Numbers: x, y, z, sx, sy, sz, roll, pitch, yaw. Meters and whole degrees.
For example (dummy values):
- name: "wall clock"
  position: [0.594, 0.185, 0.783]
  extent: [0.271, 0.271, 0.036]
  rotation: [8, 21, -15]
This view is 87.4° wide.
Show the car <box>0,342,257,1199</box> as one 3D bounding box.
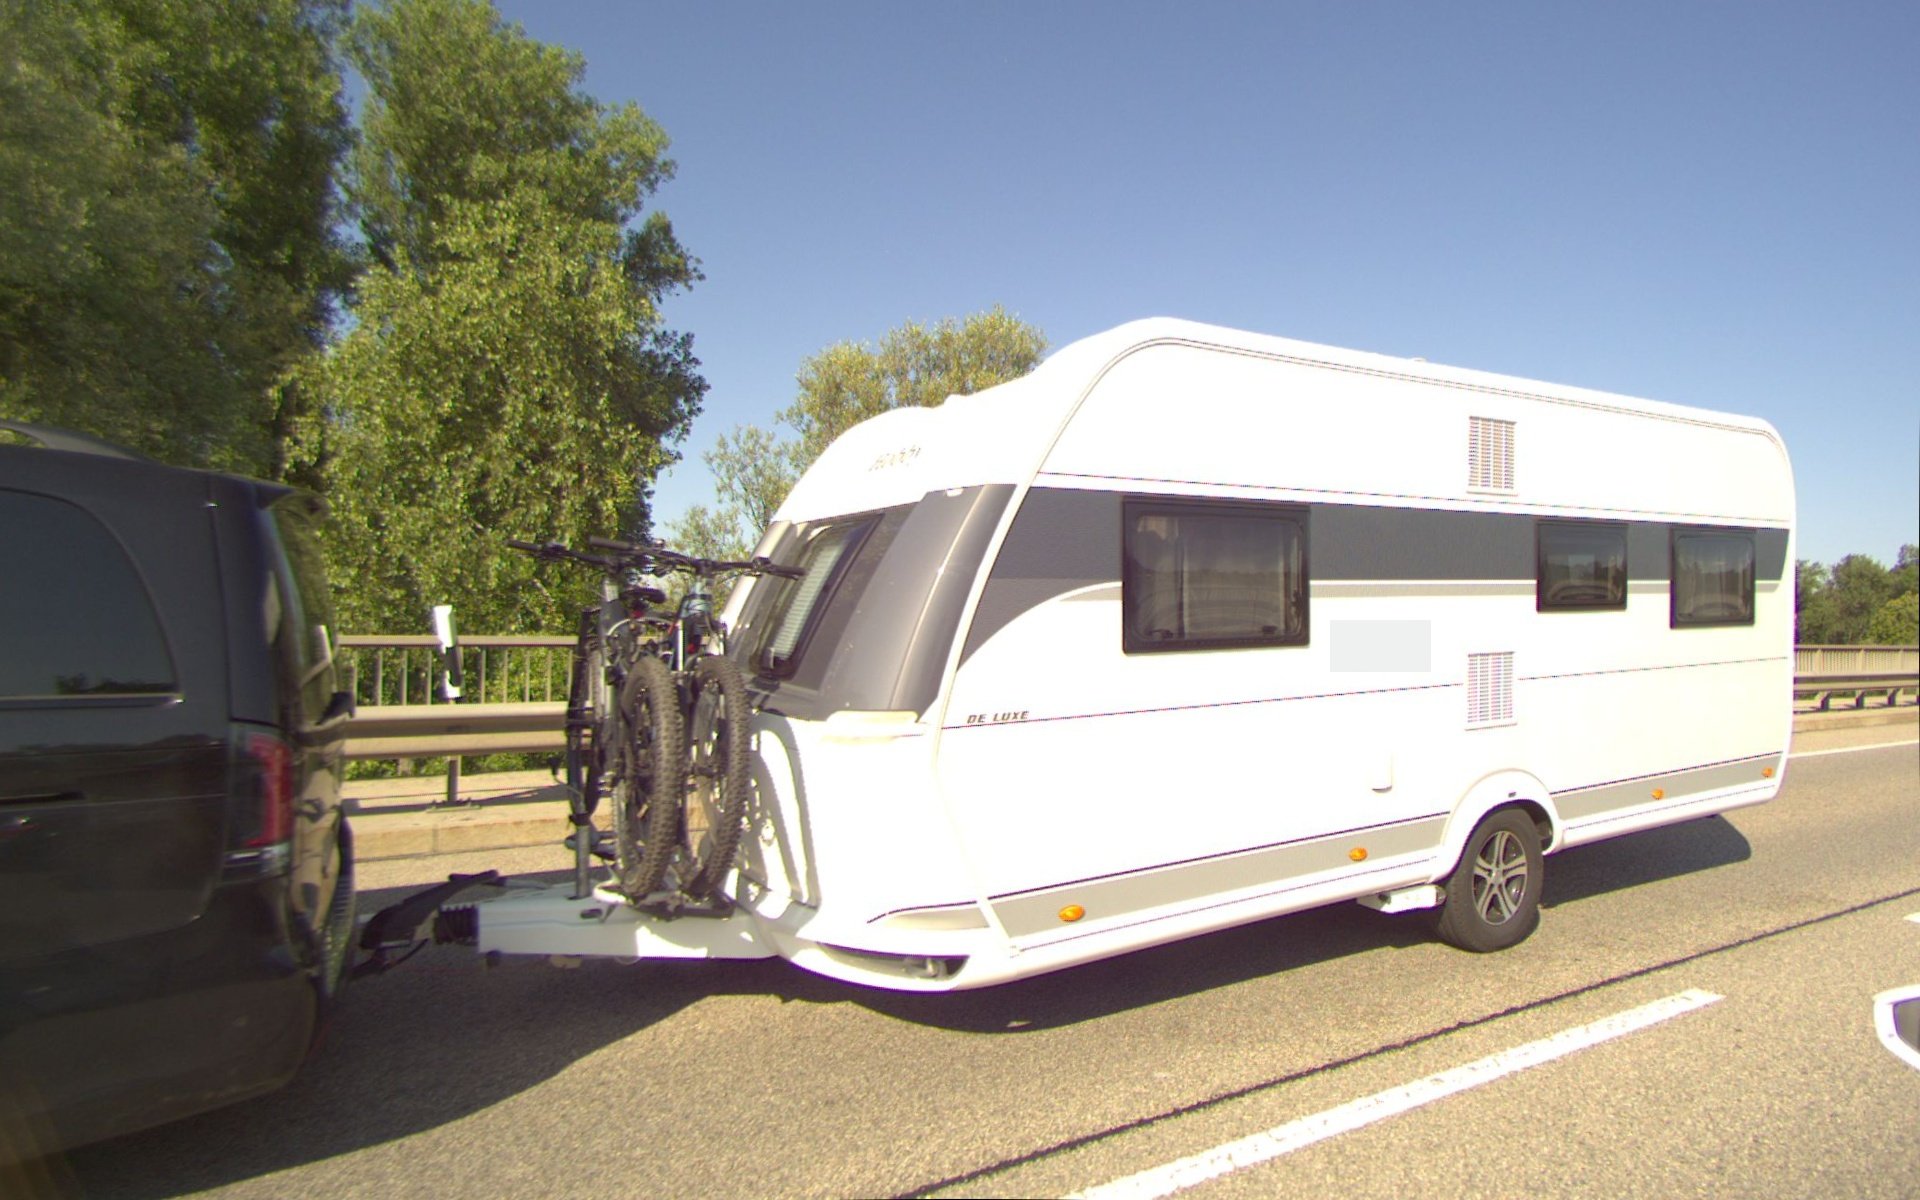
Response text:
- name: "car"
  position: [-4.422, 0.355, 1.778]
  extent: [4.947, 1.878, 1.975]
  rotation: [2, -1, -29]

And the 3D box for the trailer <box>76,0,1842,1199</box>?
- name: "trailer"
  position: [1.122, 0.092, 5.093]
  extent: [7.965, 2.773, 2.544]
  rotation: [1, -2, -29]
